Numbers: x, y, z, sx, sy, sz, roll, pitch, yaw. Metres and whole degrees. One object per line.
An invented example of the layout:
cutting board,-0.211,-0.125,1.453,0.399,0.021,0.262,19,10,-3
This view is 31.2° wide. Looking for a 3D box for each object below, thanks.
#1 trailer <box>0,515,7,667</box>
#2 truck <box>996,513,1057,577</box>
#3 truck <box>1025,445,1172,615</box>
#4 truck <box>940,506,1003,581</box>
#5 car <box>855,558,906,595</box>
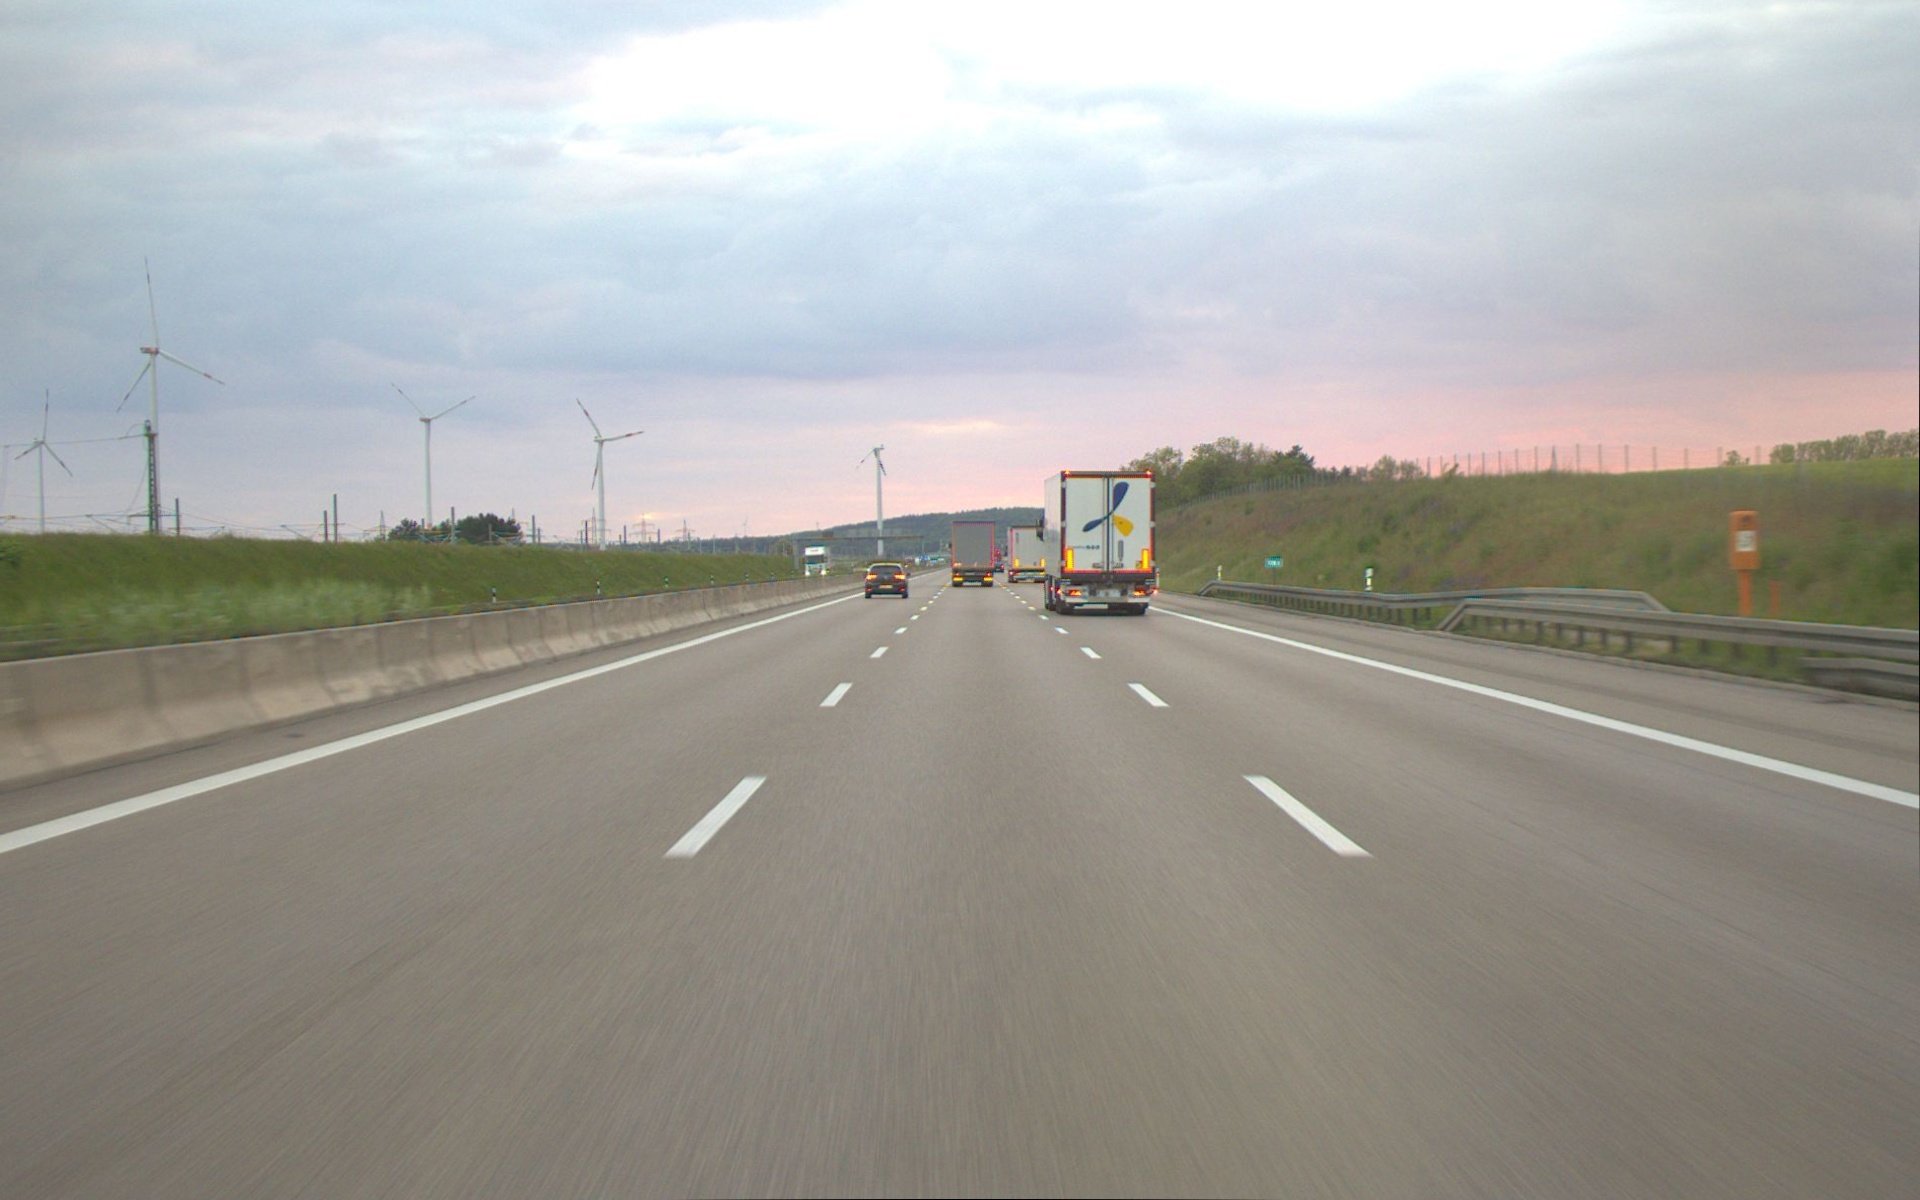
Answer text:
trailer,-19.566,-0.657,57.886,2.686,4.101,15.109,-3,1,0
truck,4.697,-3.913,245.054,3.966,4.399,8.636,-1,1,-1
truck,3.894,-1.986,99.480,3.675,4.549,10.981,-1,1,0
truck,0.697,-3.445,209.923,3.647,4.399,8.636,-1,1,0
car,-3.275,-0.969,141.966,1.987,1.425,4.000,-1,1,0
